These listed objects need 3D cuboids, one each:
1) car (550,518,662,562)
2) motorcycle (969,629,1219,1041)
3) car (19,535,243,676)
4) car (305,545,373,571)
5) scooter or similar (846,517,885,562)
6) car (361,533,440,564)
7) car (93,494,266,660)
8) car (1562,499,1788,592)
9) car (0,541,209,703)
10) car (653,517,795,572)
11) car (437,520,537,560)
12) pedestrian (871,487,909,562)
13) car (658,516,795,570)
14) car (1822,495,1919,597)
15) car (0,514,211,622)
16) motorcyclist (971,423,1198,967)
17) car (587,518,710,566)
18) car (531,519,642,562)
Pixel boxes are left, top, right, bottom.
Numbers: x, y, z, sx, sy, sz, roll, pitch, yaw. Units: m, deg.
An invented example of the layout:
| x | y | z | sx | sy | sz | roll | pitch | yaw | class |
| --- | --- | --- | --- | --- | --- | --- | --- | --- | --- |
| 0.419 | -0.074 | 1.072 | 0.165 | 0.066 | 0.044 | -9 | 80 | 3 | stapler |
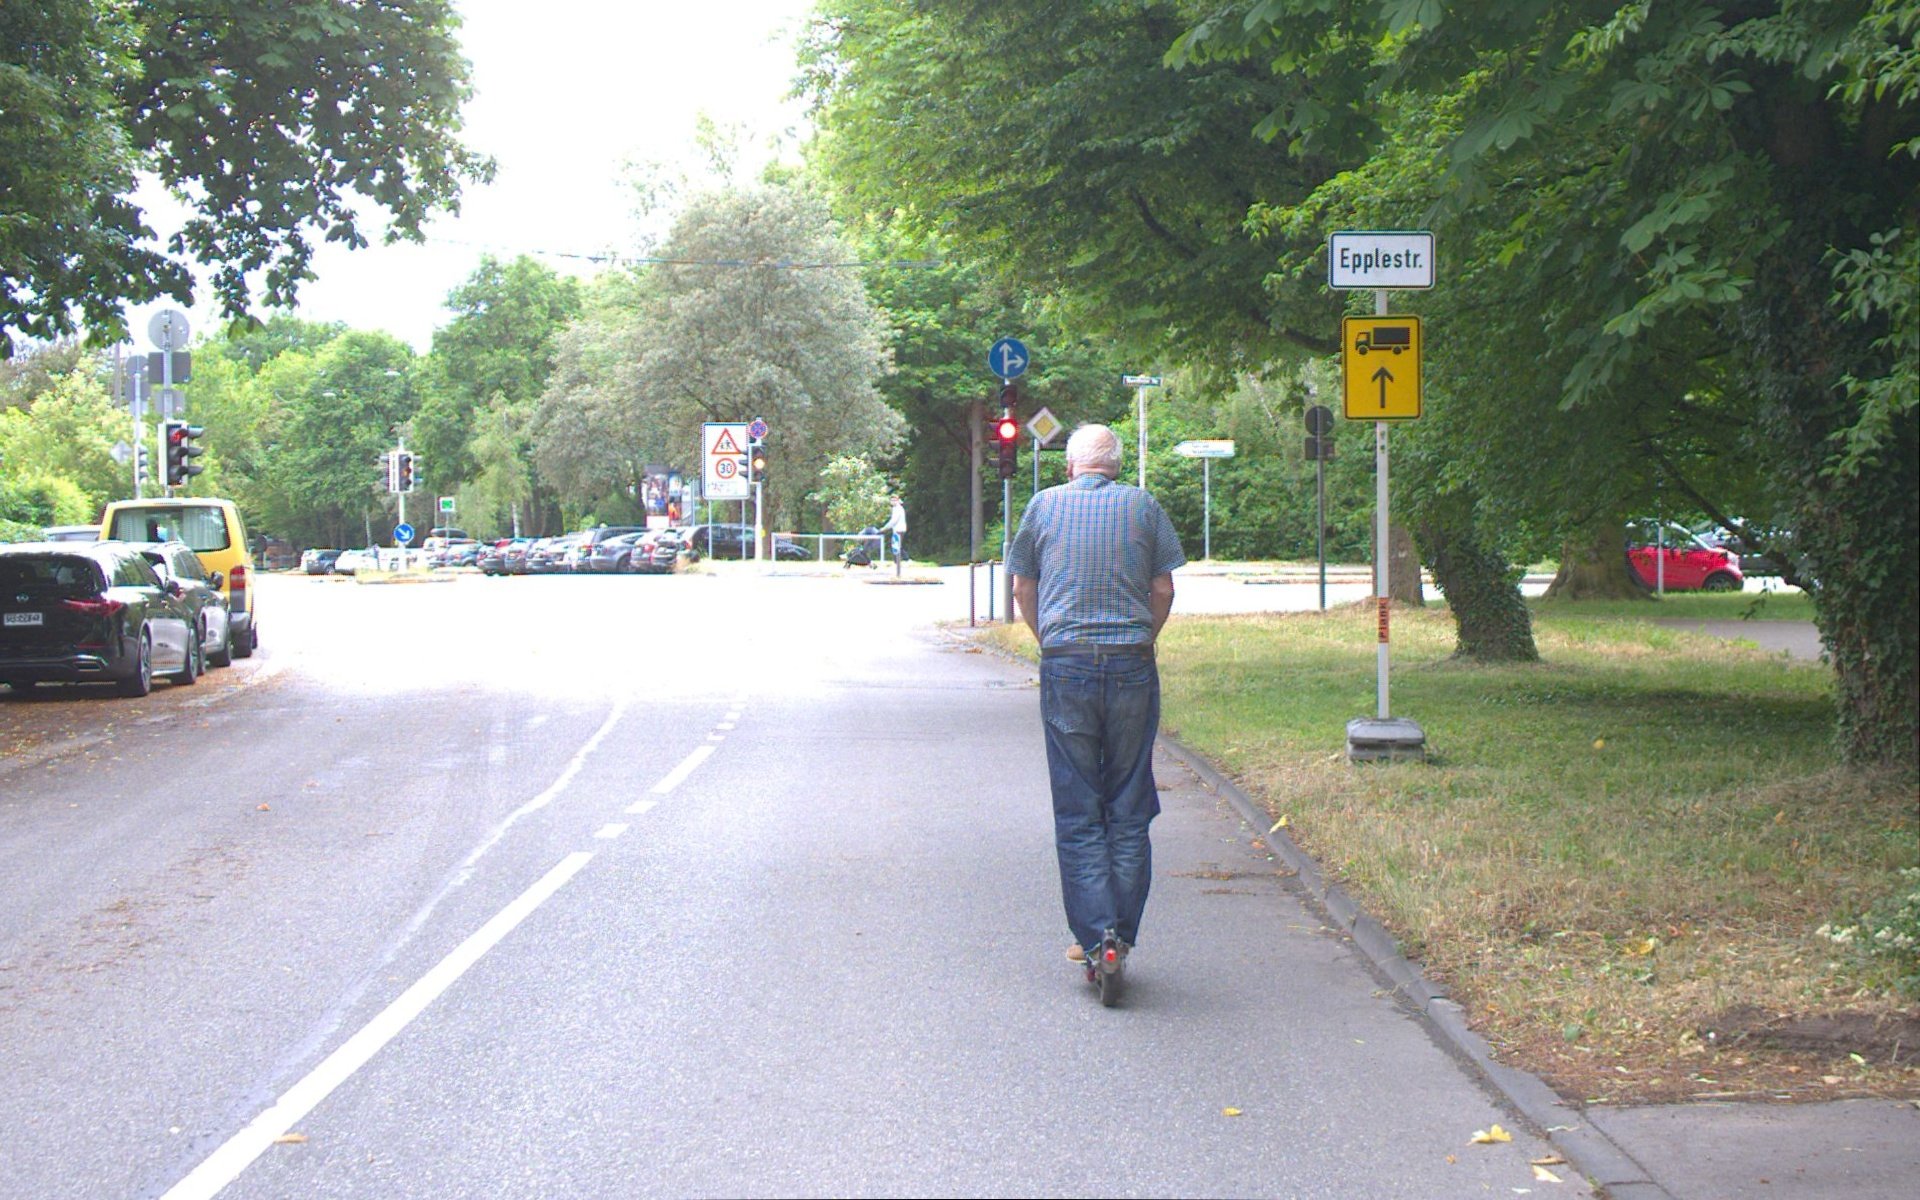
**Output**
| x | y | z | sx | sy | sz | roll | pitch | yaw | class |
| --- | --- | --- | --- | --- | --- | --- | --- | --- | --- |
| -12.798 | -2.171 | 124.196 | 3.986 | 1.505 | 1.800 | -1 | 1 | -7 | car |
| 0.412 | 0.729 | 11.185 | 0.672 | 1.213 | 1.274 | 1 | 1 | -3 | motorcycle |
| -9.036 | 0.016 | 37.765 | 1.794 | 1.411 | 4.190 | -1 | 2 | -6 | car |
| -38.314 | -2.586 | 212.196 | 3.986 | 1.505 | 1.800 | -1 | 1 | -7 | car |
| -2.225 | -1.436 | 81.190 | 0.710 | 1.045 | 0.787 | -1 | 1 | 15 | scooter or similar |
| -29.076 | -2.685 | 178.772 | 3.986 | 1.505 | 1.800 | -1 | 1 | -7 | car |
| -9.786 | -0.313 | 43.365 | 1.857 | 1.957 | 4.506 | -1 | 1 | -10 | car |
| 13.283 | -1.025 | 64.078 | 3.988 | 1.551 | 1.800 | 1 | 4 | 8 | car |
| -8.425 | 0.158 | 32.599 | 1.891 | 1.405 | 4.555 | -1 | 1 | -4 | car |
| -6.868 | -1.619 | 99.873 | 3.986 | 1.505 | 1.800 | -1 | 1 | -7 | car |
| -19.242 | -2.448 | 140.060 | 3.986 | 1.505 | 1.800 | -1 | 1 | -7 | car |
| -1.648 | -1.782 | 80.906 | 0.732 | 1.755 | 0.661 | -1 | 1 | 15 | pedestrian |
| -7.032 | -1.722 | 103.449 | 3.986 | 1.505 | 1.800 | -1 | 1 | -7 | car |
| 17.957 | -0.971 | 62.911 | 3.991 | 1.720 | 1.798 | 2 | 5 | 21 | car |
| -13.294 | -0.490 | 51.466 | 3.986 | 1.505 | 1.801 | -1 | 3 | -10 | car |
| 0.404 | 0.303 | 11.462 | 0.672 | 1.755 | 0.639 | 1 | 1 | -3 | motorcyclist |
| -10.307 | -1.928 | 113.632 | 3.986 | 1.505 | 1.800 | -1 | 1 | -7 | car |
| -13.685 | -2.194 | 126.033 | 3.986 | 1.505 | 1.800 | -1 | 1 | -7 | car |
